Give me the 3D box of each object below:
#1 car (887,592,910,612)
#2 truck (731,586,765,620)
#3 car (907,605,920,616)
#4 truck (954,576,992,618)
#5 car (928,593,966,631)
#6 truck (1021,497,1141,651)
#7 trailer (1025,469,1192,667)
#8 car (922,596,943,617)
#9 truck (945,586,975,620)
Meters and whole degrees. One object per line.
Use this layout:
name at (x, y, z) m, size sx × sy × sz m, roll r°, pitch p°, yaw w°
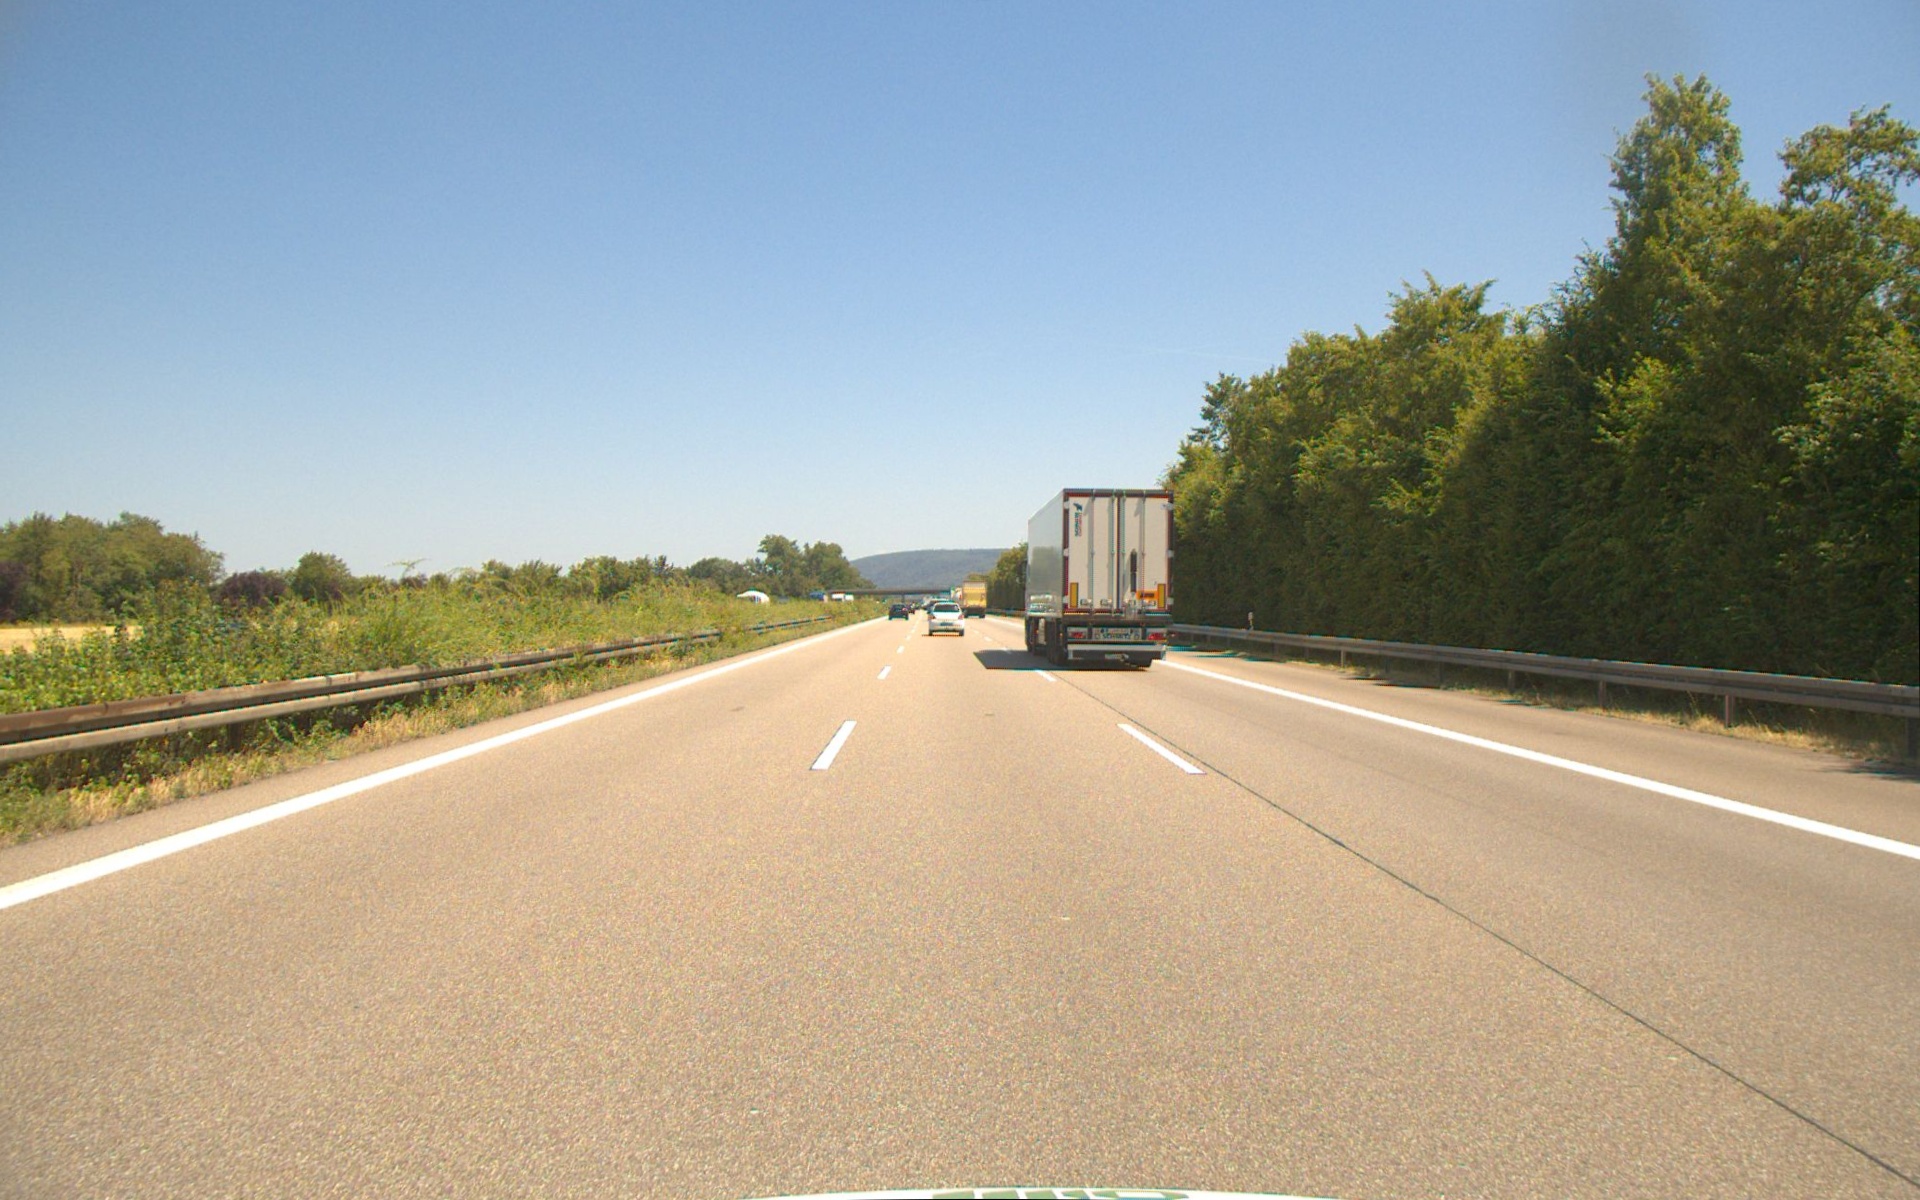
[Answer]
car at (-5.567, 0.213, 149.528) m, size 1.953 × 1.742 × 3.999 m, roll 1°, pitch 0°, yaw -2°
truck at (-22.938, 0.337, 179.200) m, size 3.162 × 3.578 × 5.433 m, roll 0°, pitch 0°, yaw -2°
car at (-6.539, 1.437, 234.247) m, size 1.759 × 1.578 × 3.999 m, roll 0°, pitch 0°, yaw -1°
truck at (1.367, -0.386, 183.593) m, size 3.793 × 4.421 × 13.858 m, roll 1°, pitch 0°, yaw -1°
car at (-0.629, 0.536, 77.576) m, size 1.697 × 1.713 × 3.999 m, roll -1°, pitch 0°, yaw -1°
truck at (3.625, -0.760, 51.221) m, size 3.152 × 4.421 × 6.590 m, roll 1°, pitch 0°, yaw 0°
trailer at (3.624, -0.741, 44.118) m, size 3.152 × 4.421 × 13.628 m, roll 1°, pitch 0°, yaw 0°
car at (-2.371, 0.555, 142.033) m, size 1.750 × 1.742 × 3.999 m, roll 1°, pitch 0°, yaw -1°
truck at (-0.094, 0.450, 243.082) m, size 4.184 × 4.733 × 13.857 m, roll 0°, pitch 0°, yaw -1°
